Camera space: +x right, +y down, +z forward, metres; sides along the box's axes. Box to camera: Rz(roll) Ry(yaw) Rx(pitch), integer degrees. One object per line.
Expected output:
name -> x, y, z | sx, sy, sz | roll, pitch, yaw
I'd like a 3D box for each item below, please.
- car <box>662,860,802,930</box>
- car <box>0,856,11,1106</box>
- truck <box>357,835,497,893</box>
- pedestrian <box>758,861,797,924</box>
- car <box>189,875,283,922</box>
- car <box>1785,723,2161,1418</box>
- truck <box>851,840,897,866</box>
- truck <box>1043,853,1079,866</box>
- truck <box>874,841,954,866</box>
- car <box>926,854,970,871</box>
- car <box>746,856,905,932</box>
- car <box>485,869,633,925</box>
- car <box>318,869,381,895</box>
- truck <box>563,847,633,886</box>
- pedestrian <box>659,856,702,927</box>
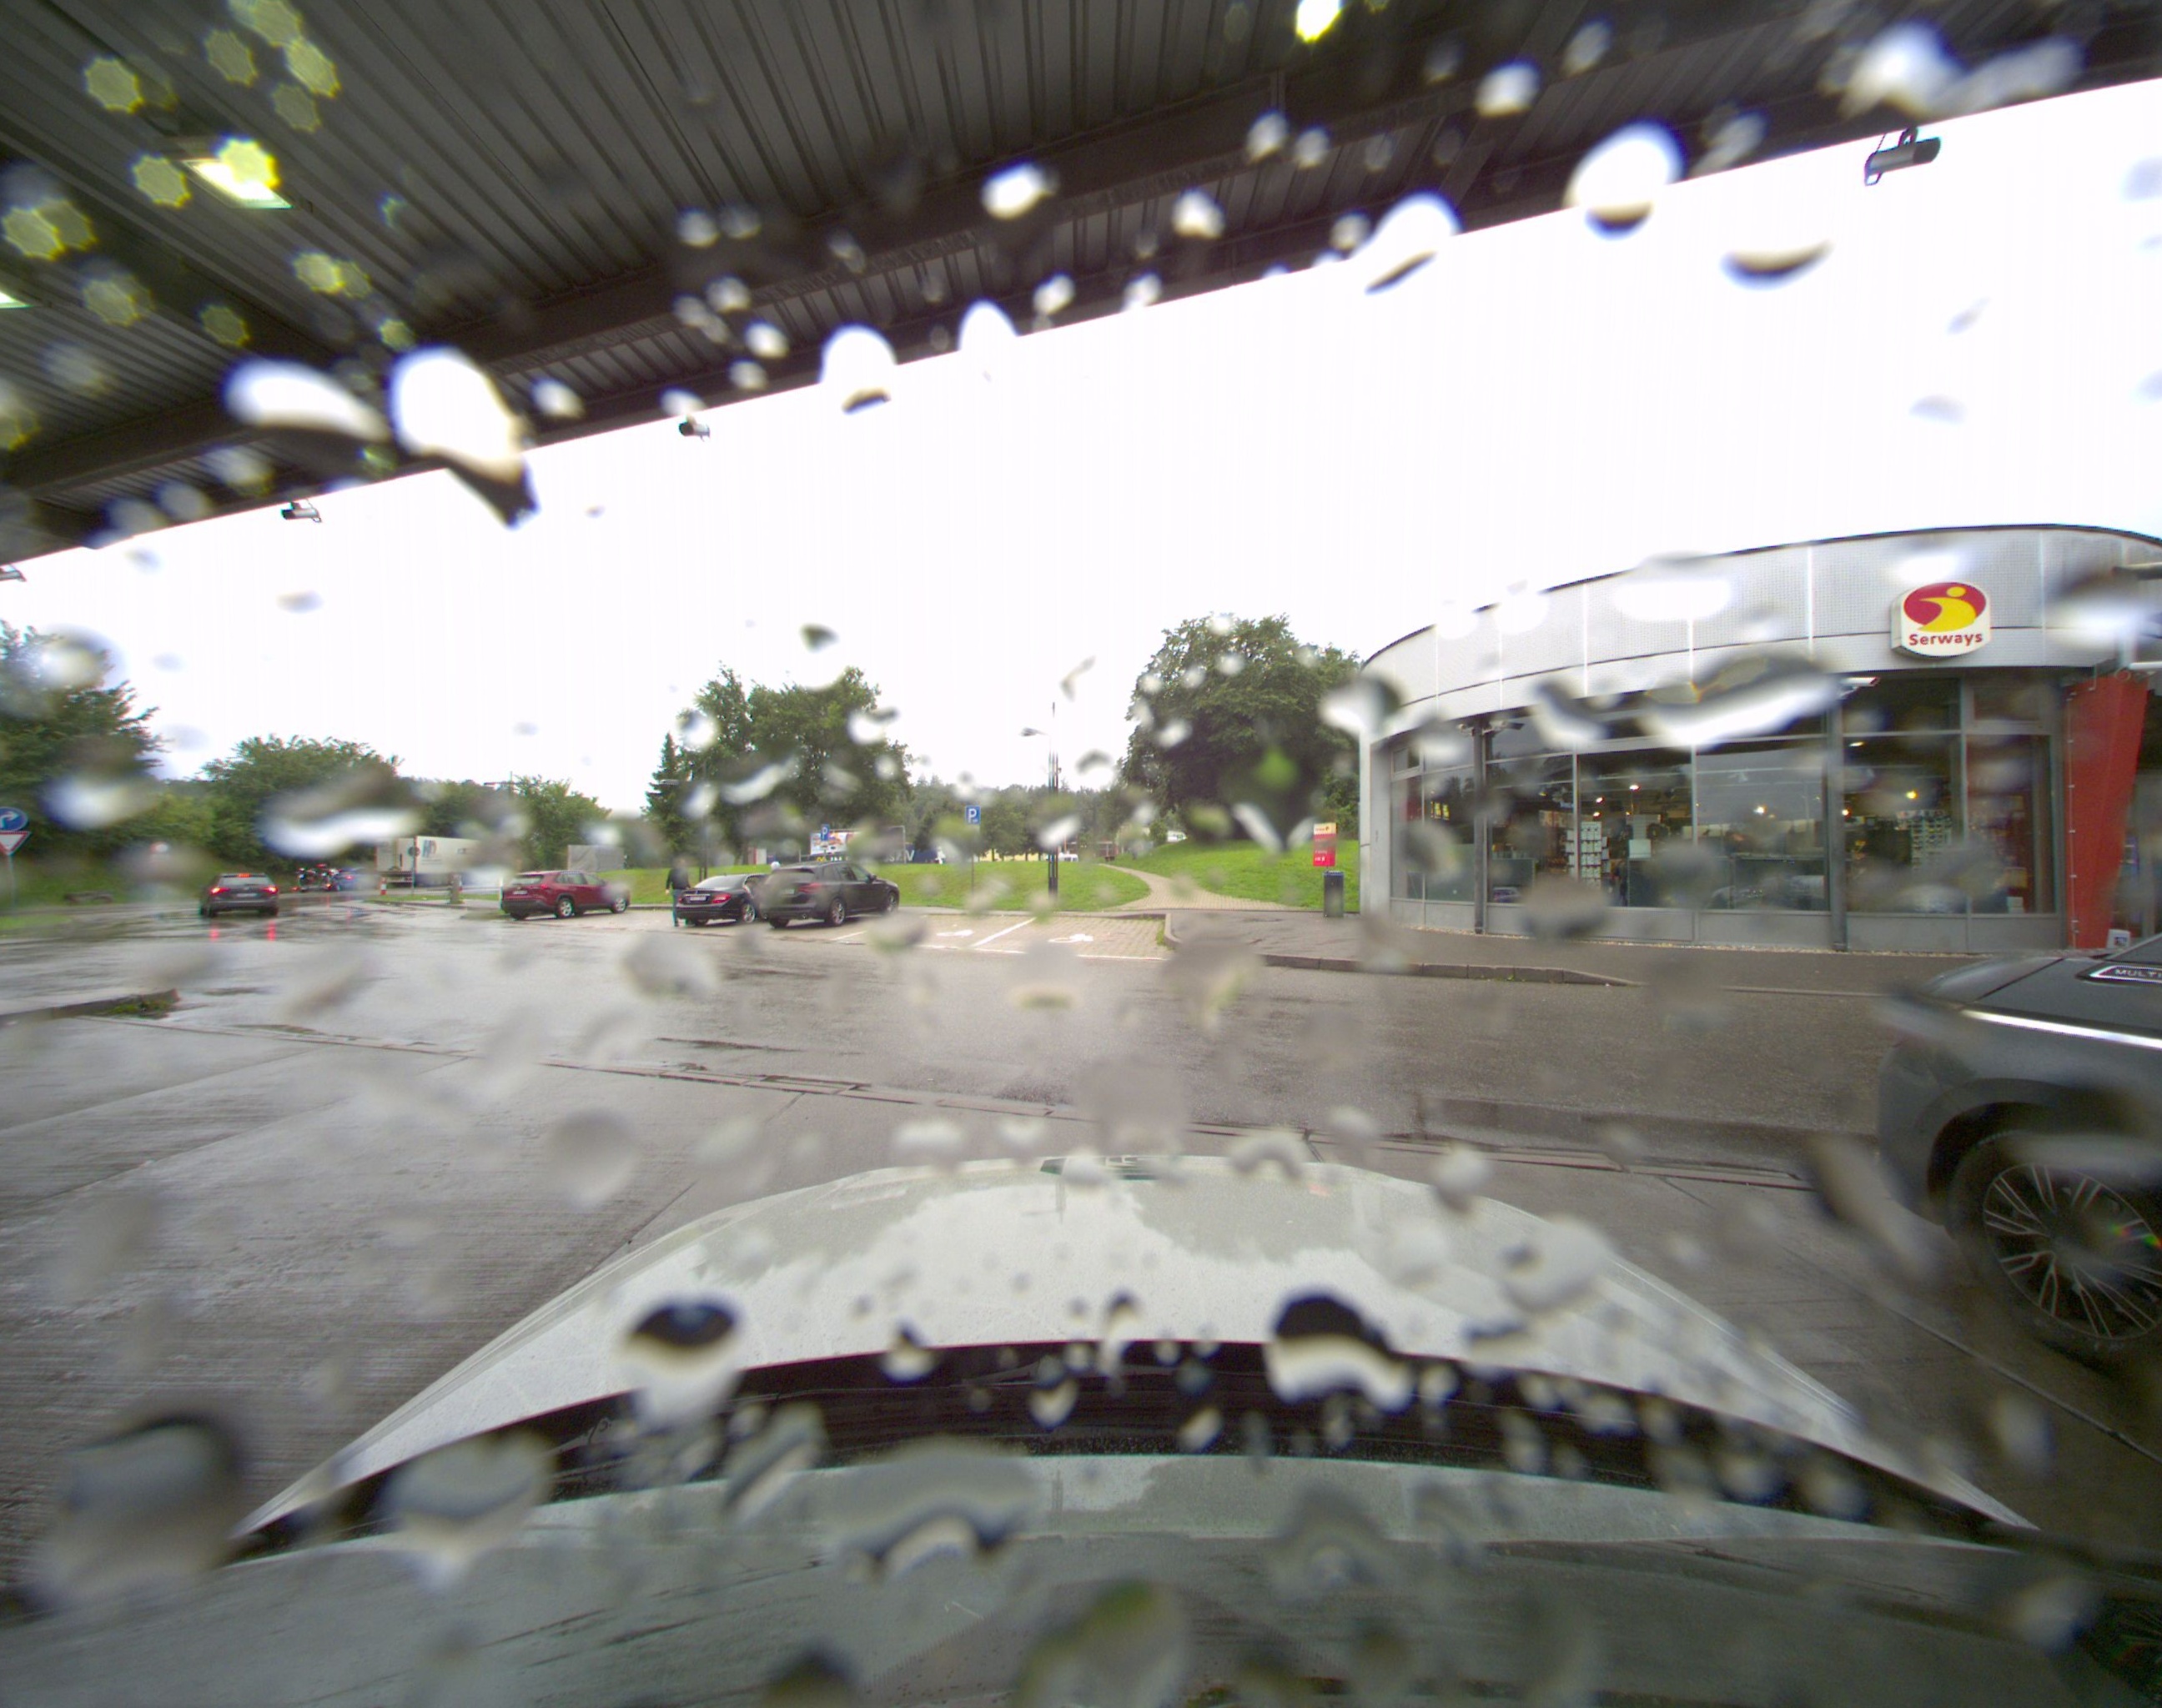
car -> -9.838, 1.080, 23.415 | 2.010, 1.711, 4.344 | -2, 0, 1
car -> -7.970, 0.802, 2.667 | 1.854, 1.608, 5.273 | 0, 0, 2
truck -> -55.452, 0.833, 69.964 | 3.550, 4.340, 16.899 | 0, -1, -18
pedestrian -> -8.071, 1.008, 21.639 | 0.955, 1.631, 0.698 | 0, -1, -24
car -> -32.597, 1.672, 31.404 | 3.948, 1.678, 2.013 | -2, -1, 36
car -> 3.672, 0.544, 0.669 | 1.854, 1.798, 5.142 | 0, -1, 2
truck -> -24.194, -0.092, 95.445 | 2.165, 2.920, 5.419 | -1, -1, 27
truck -> -3.260, 0.871, 134.096 | 5.356, 2.014, 2.381 | -1, -1, 26
truck -> -20.762, -0.061, 102.336 | 2.165, 2.920, 13.175 | -1, -1, 26
car -> -14.030, 0.909, 85.986 | 4.153, 1.783, 1.825 | 0, -1, -34
car -> -6.653, 0.970, 21.771 | 2.002, 1.711, 4.360 | -2, 0, 14
car -> -18.141, 1.439, 28.582 | 1.928, 1.644, 4.352 | -2, 0, 7
car -> -50.350, 1.874, 56.161 | 1.814, 1.681, 3.927 | 0, -1, -18
truck -> -40.717, 1.041, 68.942 | 2.476, 3.085, 7.335 | 0, -1, -8
pedestrian -> -11.042, 1.012, 22.428 | 0.882, 1.887, 0.708 | -1, -1, 33
